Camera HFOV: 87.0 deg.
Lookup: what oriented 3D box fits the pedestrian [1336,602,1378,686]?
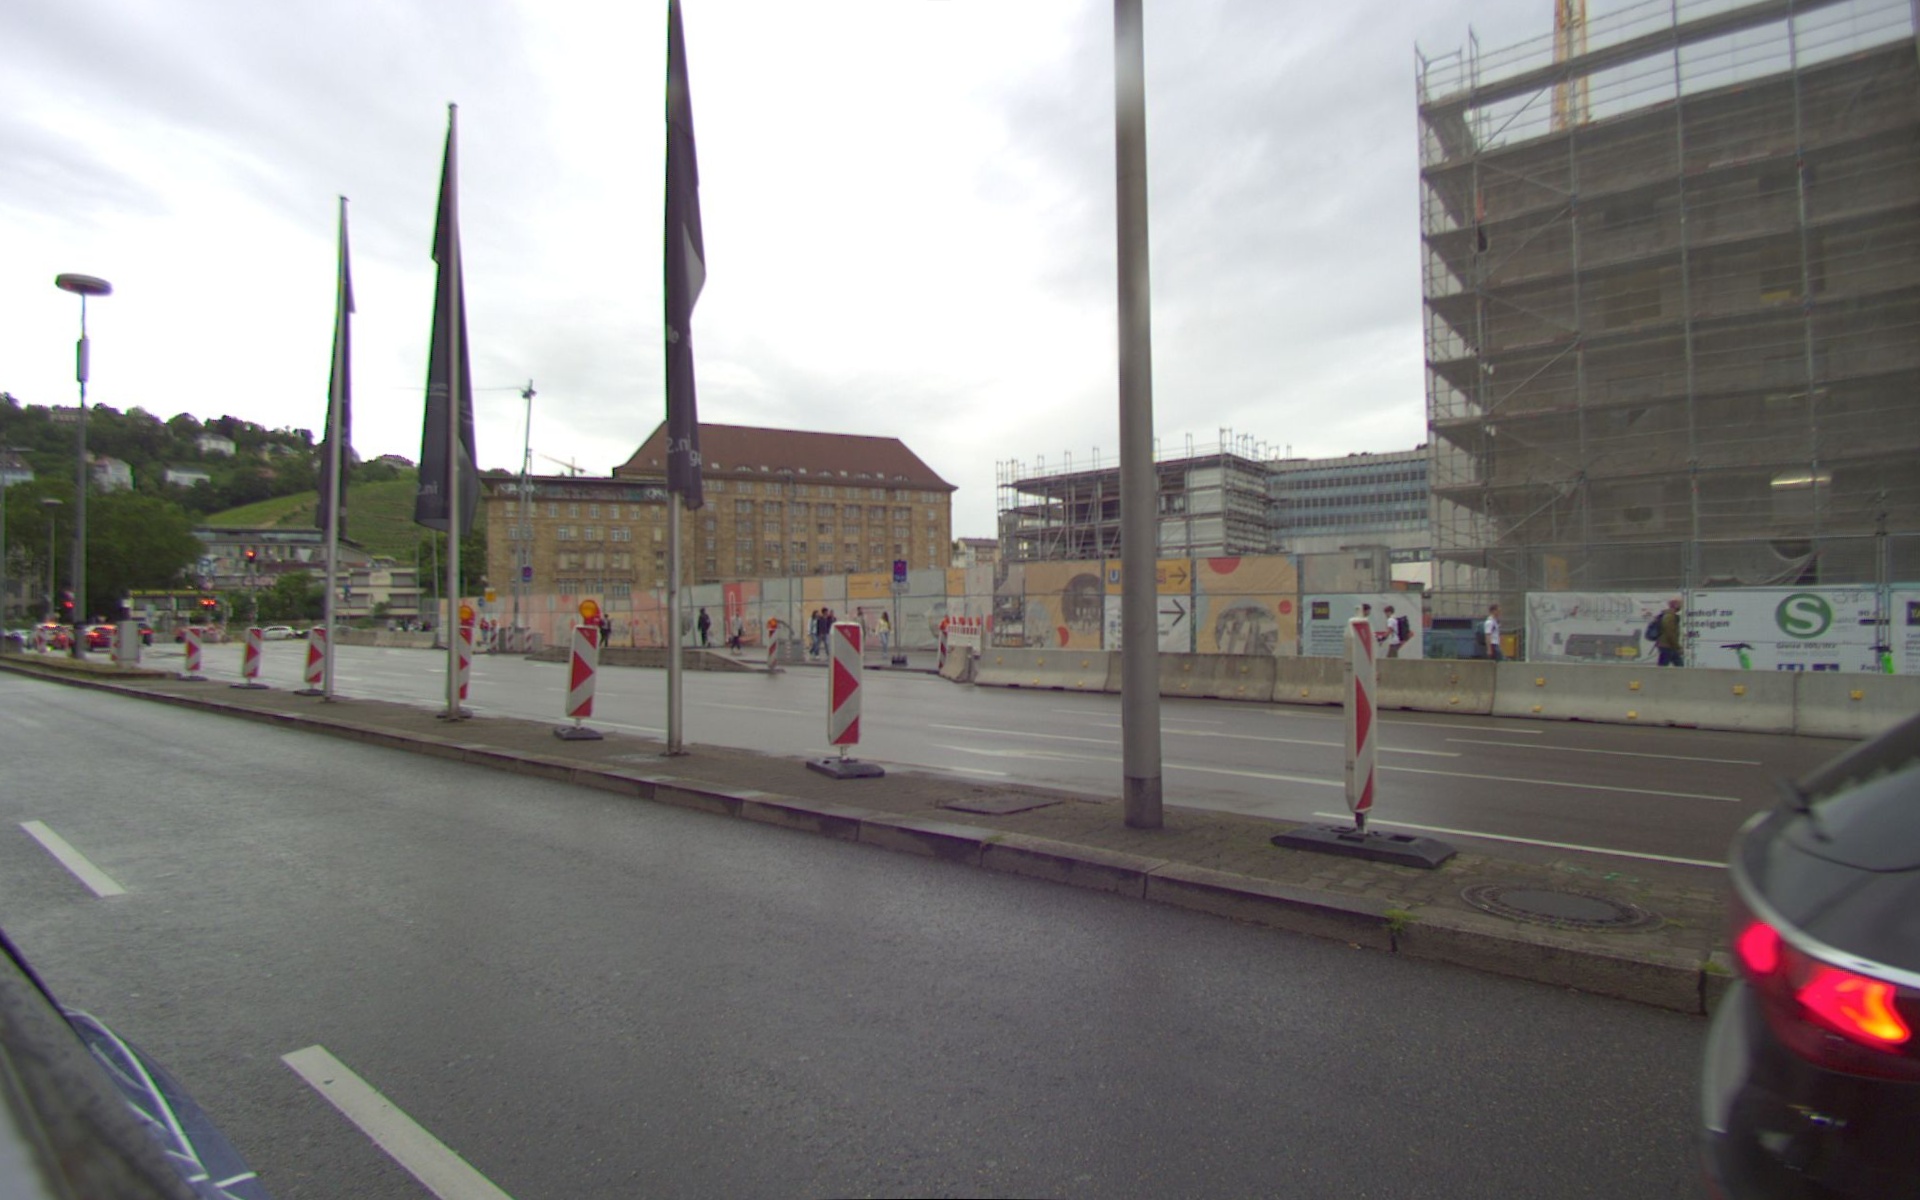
[{"bbox_3d":[8.960,0.975,22.844,0.717,1.850,0.579,-1,0,41],"label":"pedestrian"}]

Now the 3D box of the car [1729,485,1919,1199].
[{"bbox_3d":[3.312,0.570,0.475,4.585,1.480,1.836,-1,0,41],"label":"car"}]

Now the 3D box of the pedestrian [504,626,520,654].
[{"bbox_3d":[-25.815,2.300,58.310,0.544,1.628,0.706,-1,0,41],"label":"pedestrian"}]

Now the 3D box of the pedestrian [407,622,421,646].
[{"bbox_3d":[-38.546,2.384,71.474,0.544,1.628,0.706,-1,0,41],"label":"pedestrian"}]

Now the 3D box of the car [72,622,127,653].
[{"bbox_3d":[-48.523,2.087,57.033,3.914,1.707,1.762,-2,-2,41],"label":"car"}]

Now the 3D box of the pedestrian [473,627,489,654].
[{"bbox_3d":[-28.640,2.415,60.472,0.544,1.628,0.706,-1,0,41],"label":"pedestrian"}]

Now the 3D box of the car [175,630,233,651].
[{"bbox_3d":[-64.899,3.458,86.950,3.934,1.644,2.005,0,-2,-36],"label":"car"}]

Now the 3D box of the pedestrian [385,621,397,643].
[{"bbox_3d":[-42.284,2.356,75.163,0.705,1.628,0.545,-1,0,-39],"label":"pedestrian"}]

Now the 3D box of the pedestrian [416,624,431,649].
[{"bbox_3d":[-35.531,2.409,67.036,0.544,1.628,0.706,-1,0,41],"label":"pedestrian"}]

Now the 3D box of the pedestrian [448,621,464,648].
[{"bbox_3d":[-31.013,2.112,62.302,0.544,1.628,0.706,-1,0,41],"label":"pedestrian"}]

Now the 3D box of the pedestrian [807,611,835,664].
[{"bbox_3d":[-4.689,1.245,34.174,0.704,1.746,0.719,-1,0,-31],"label":"pedestrian"}]

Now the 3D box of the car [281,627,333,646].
[{"bbox_3d":[-60.365,3.383,93.562,3.934,1.644,2.005,0,-2,-36],"label":"car"}]

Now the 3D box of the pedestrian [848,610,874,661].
[{"bbox_3d":[-3.453,1.225,35.133,0.704,1.757,0.565,-1,0,-29],"label":"pedestrian"}]

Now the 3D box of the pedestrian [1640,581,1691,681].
[{"bbox_3d":[13.311,0.572,19.101,0.717,1.850,0.475,-1,0,41],"label":"pedestrian"}]

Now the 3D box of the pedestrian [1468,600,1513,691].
[{"bbox_3d":[10.987,0.927,20.974,0.717,1.850,0.475,-1,0,41],"label":"pedestrian"}]

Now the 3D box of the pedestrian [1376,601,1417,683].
[{"bbox_3d":[9.999,0.944,23.176,0.717,1.850,0.475,-1,0,41],"label":"pedestrian"}]

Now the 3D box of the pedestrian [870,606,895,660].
[{"bbox_3d":[-2.697,1.149,35.266,0.651,1.850,0.557,-1,0,-29],"label":"pedestrian"}]

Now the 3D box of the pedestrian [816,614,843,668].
[{"bbox_3d":[-4.562,1.419,35.308,0.704,1.850,0.719,-1,0,-31],"label":"pedestrian"}]

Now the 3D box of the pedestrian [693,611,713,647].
[{"bbox_3d":[-11.697,1.315,46.084,0.544,1.628,0.706,-1,0,41],"label":"pedestrian"}]

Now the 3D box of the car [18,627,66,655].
[{"bbox_3d":[-59.933,2.674,66.030,3.913,1.707,1.763,-1,0,40],"label":"car"}]

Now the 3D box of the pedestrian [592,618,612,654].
[{"bbox_3d":[-16.871,1.691,47.710,0.544,1.628,0.706,-1,0,41],"label":"pedestrian"}]

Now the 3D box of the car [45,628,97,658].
[{"bbox_3d":[-53.764,2.569,61.202,3.913,1.707,1.763,-1,0,40],"label":"car"}]

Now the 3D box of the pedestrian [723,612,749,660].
[{"bbox_3d":[-8.840,1.406,39.932,0.720,1.850,0.656,-1,0,41],"label":"pedestrian"}]

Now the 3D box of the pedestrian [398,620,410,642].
[{"bbox_3d":[-41.604,2.319,75.708,0.705,1.628,0.545,-1,0,-39],"label":"pedestrian"}]

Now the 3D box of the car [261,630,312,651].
[{"bbox_3d":[-68.775,4.106,103.353,4.136,1.871,1.833,-1,0,-44],"label":"car"}]
